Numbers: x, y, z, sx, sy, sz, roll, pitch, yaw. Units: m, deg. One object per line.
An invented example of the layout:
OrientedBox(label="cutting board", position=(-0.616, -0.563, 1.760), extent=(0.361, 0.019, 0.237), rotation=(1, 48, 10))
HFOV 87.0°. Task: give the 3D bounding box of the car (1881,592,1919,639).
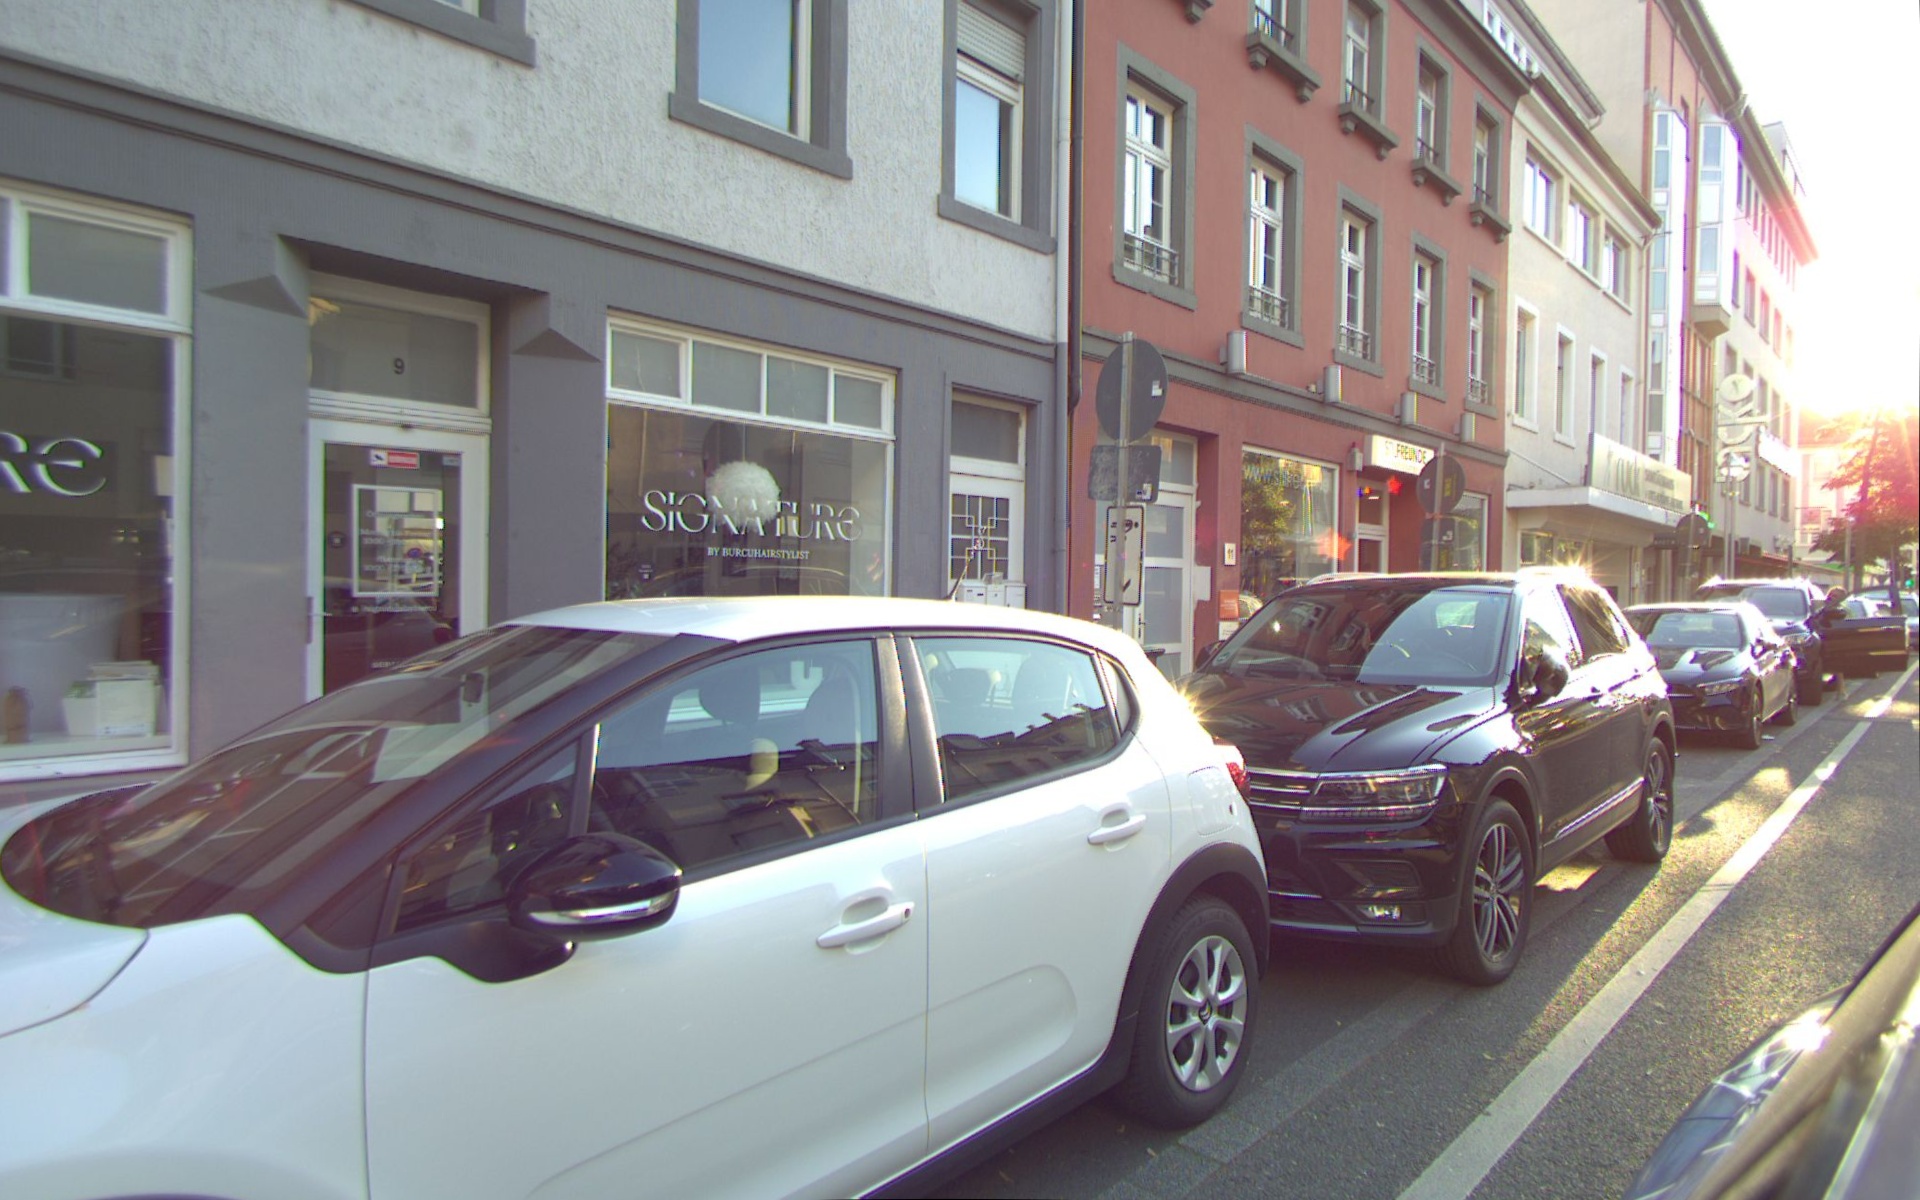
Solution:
OrientedBox(label="car", position=(33.042, 0.515, 34.772), extent=(3.722, 1.521, 1.692), rotation=(-1, 2, -42))

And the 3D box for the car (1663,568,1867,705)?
OrientedBox(label="car", position=(12.709, 0.441, 15.831), extent=(1.994, 1.799, 5.234), rotation=(1, 1, 44))

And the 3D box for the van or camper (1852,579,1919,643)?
OrientedBox(label="van or camper", position=(28.650, 0.283, 31.015), extent=(1.786, 1.796, 4.492), rotation=(2, 2, 40))

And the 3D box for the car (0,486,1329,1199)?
OrientedBox(label="car", position=(-0.827, 0.661, 2.444), extent=(3.868, 1.593, 1.663), rotation=(-1, 0, -43))

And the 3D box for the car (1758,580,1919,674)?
OrientedBox(label="car", position=(17.735, 0.448, 20.349), extent=(4.550, 1.676, 1.996), rotation=(-1, 1, -43))

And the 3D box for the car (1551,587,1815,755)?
OrientedBox(label="car", position=(8.284, 0.649, 11.426), extent=(4.339, 1.507, 1.686), rotation=(-1, 0, -45))

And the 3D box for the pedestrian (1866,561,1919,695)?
OrientedBox(label="pedestrian", position=(13.415, 0.391, 14.567), extent=(0.483, 1.881, 0.532), rotation=(1, 1, 39))

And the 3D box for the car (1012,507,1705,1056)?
OrientedBox(label="car", position=(2.415, 0.553, 5.366), extent=(4.387, 1.720, 1.795), rotation=(-1, 0, -45))

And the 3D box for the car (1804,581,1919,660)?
OrientedBox(label="car", position=(21.920, 0.414, 24.370), extent=(4.407, 1.675, 1.995), rotation=(-1, 2, -44))
